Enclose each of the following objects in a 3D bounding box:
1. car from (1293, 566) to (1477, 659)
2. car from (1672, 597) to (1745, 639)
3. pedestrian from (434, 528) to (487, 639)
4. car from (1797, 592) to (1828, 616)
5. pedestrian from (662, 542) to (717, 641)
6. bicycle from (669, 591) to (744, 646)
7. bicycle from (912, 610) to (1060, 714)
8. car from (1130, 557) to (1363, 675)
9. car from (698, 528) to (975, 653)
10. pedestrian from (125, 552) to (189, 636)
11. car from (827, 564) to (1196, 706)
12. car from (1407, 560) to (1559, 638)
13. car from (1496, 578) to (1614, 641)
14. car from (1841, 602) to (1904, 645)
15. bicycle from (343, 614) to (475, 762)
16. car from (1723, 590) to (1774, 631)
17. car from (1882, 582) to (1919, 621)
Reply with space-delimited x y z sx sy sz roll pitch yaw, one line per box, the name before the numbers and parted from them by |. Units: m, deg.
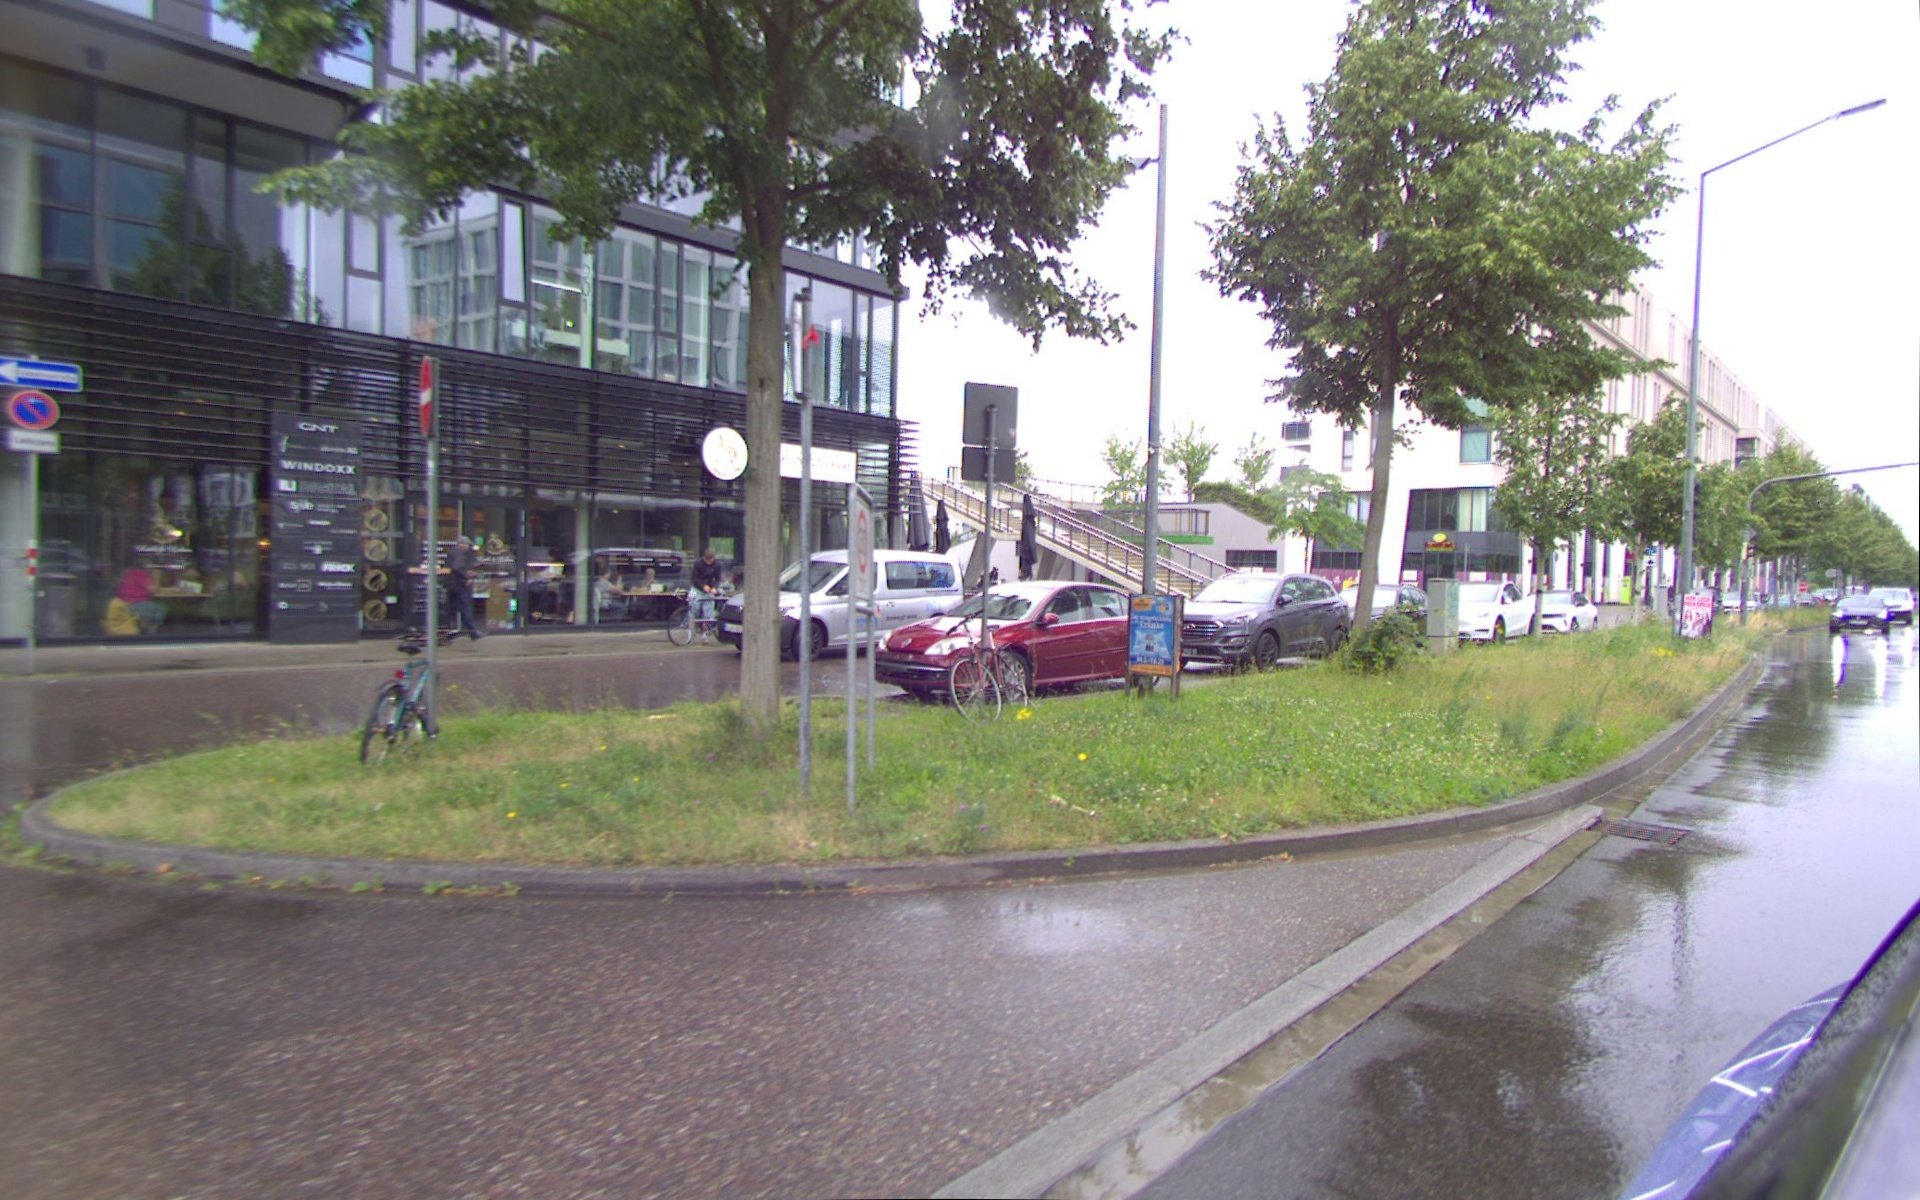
car | 9.109 0.279 21.491 1.995 1.729 4.647 3 0 44
car | 34.206 0.853 46.185 1.995 1.729 4.760 3 0 44
pedestrian | -8.517 -0.279 17.254 0.499 1.856 0.575 3 0 9
car | 63.654 0.289 75.540 1.637 1.608 3.870 3 0 41
pedestrian | -4.838 -0.150 18.117 0.625 1.727 0.647 2 0 40
bicycle | -4.430 0.327 17.730 0.436 0.908 1.213 2 0 41
bicycle | 0.300 0.557 9.781 0.569 0.873 1.894 3 0 30
car | 4.923 0.266 17.078 1.995 1.729 4.149 3 0 44
car | -2.010 -0.120 17.697 1.893 1.889 4.650 3 0 42
pedestrian | -12.280 -0.093 15.493 0.570 1.253 0.450 3 0 -2
car | 0.844 0.332 13.090 4.878 1.473 1.995 0 2 -44
car | 13.082 0.008 25.175 1.995 1.729 4.760 3 0 44
car | 18.230 0.311 30.918 1.995 1.729 4.760 3 0 44
car | 35.458 0.918 39.276 1.683 1.548 3.905 3 0 44
bicycle | -4.007 0.600 7.452 0.424 0.928 1.465 3 0 -12
car | 42.228 0.567 54.162 1.909 2.039 3.941 3 0 40
car | 50.538 0.101 53.996 3.934 1.950 1.754 2 0 -45
